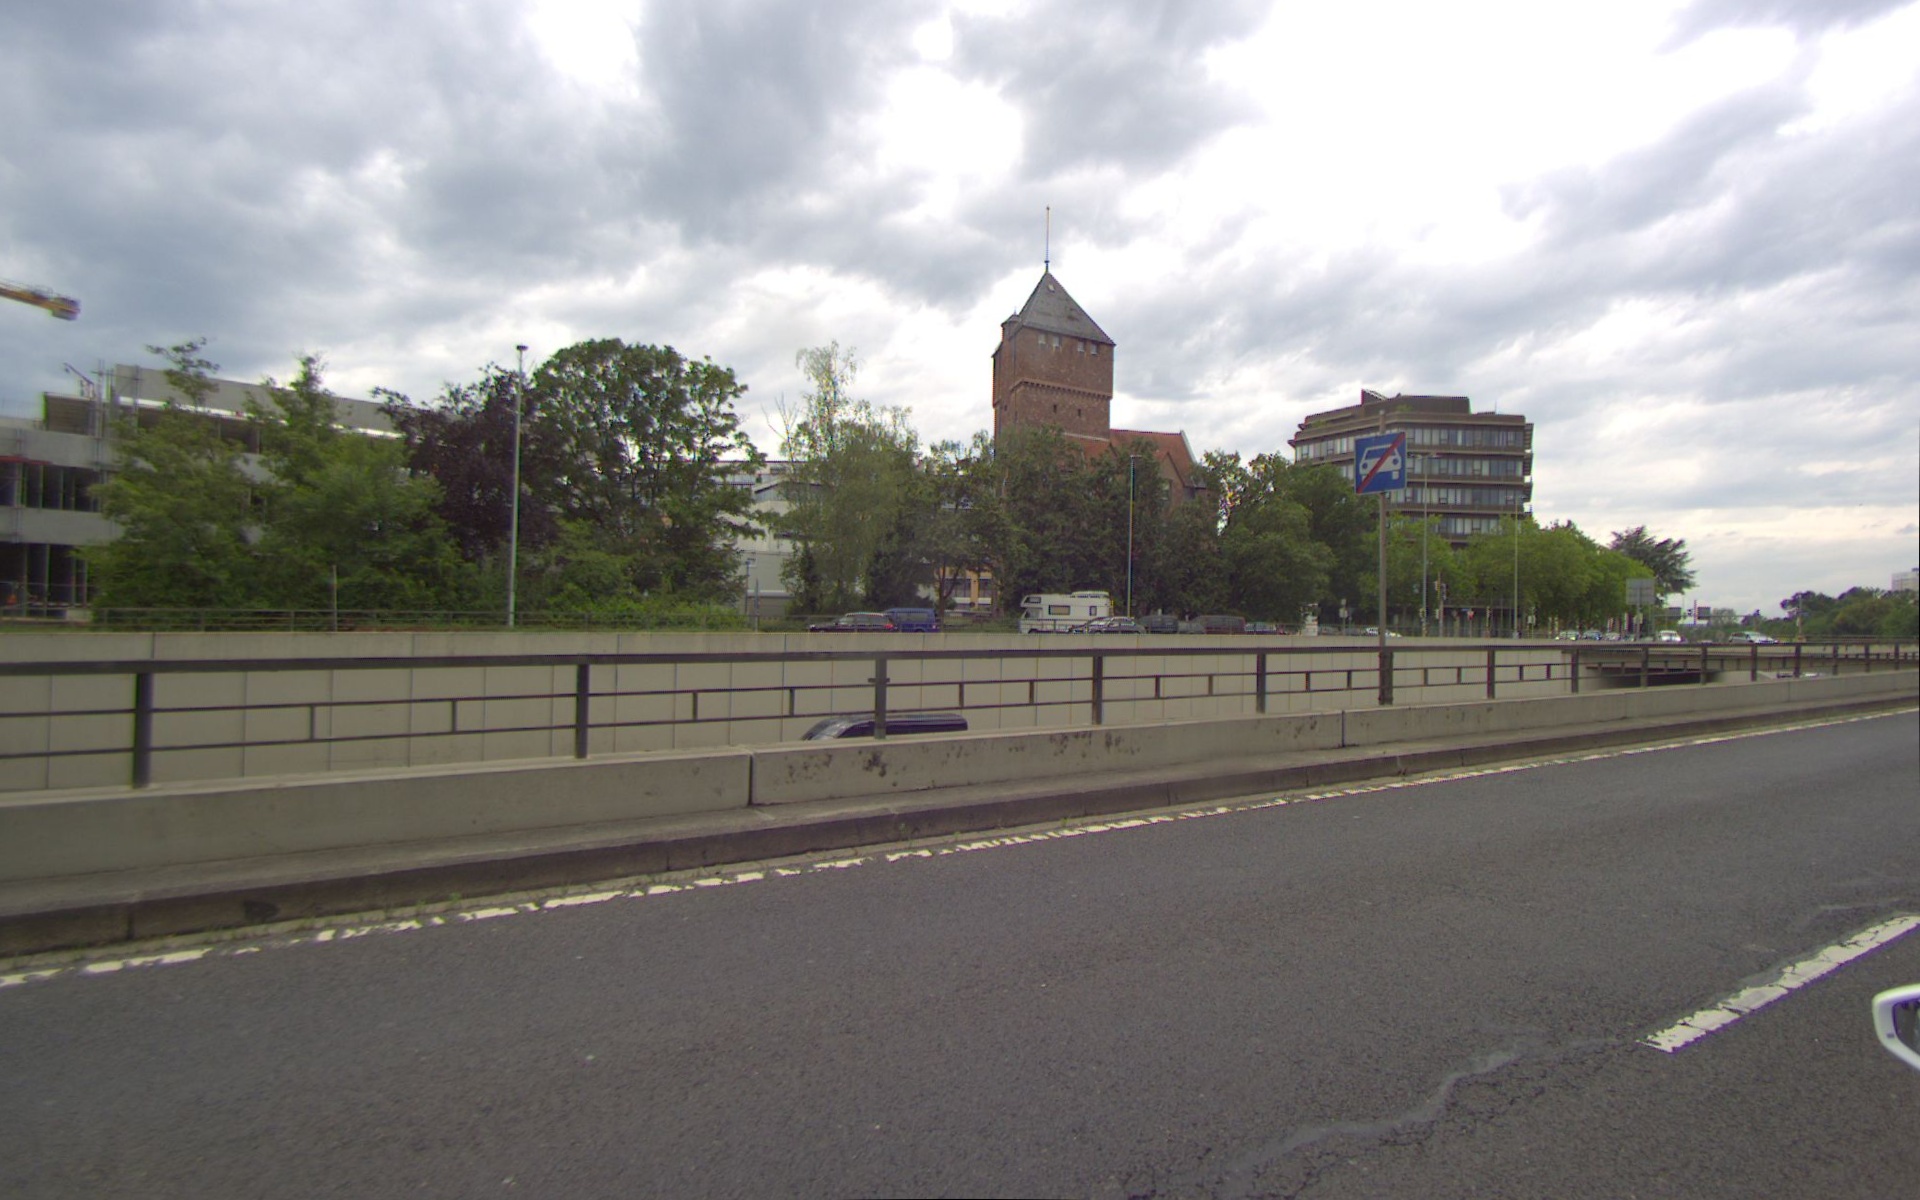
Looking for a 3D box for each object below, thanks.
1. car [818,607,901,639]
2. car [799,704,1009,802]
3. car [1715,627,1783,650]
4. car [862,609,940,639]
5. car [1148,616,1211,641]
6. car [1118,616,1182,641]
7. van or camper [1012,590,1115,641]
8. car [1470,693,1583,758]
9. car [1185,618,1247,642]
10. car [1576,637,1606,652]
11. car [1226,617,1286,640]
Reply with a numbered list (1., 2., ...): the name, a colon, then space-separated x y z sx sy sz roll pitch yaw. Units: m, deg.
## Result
1. car: -5.131 1.160 51.477 3.919 1.460 1.630 2 0 8
2. car: -1.435 4.028 27.164 5.429 2.040 1.981 1 0 -34
3. car: 74.108 3.607 94.417 1.966 2.040 4.797 1 0 -13
4. car: -3.137 1.258 53.895 3.919 1.460 1.630 2 0 8
5. car: 14.594 1.905 66.913 3.919 1.460 1.630 2 0 8
6. car: 12.258 1.819 64.926 3.919 1.460 1.630 2 0 8
7. van or camper: 6.257 0.906 60.630 5.805 2.847 2.147 2 0 15
8. car: 32.393 7.046 57.312 7.433 3.069 2.493 1 0 -34
9. car: 17.496 2.011 68.774 3.919 1.460 1.630 2 0 8
10. car: 66.004 4.694 105.049 3.970 1.460 1.609 2 0 -42
11. car: 21.047 2.043 71.535 3.919 1.460 1.630 2 0 8
